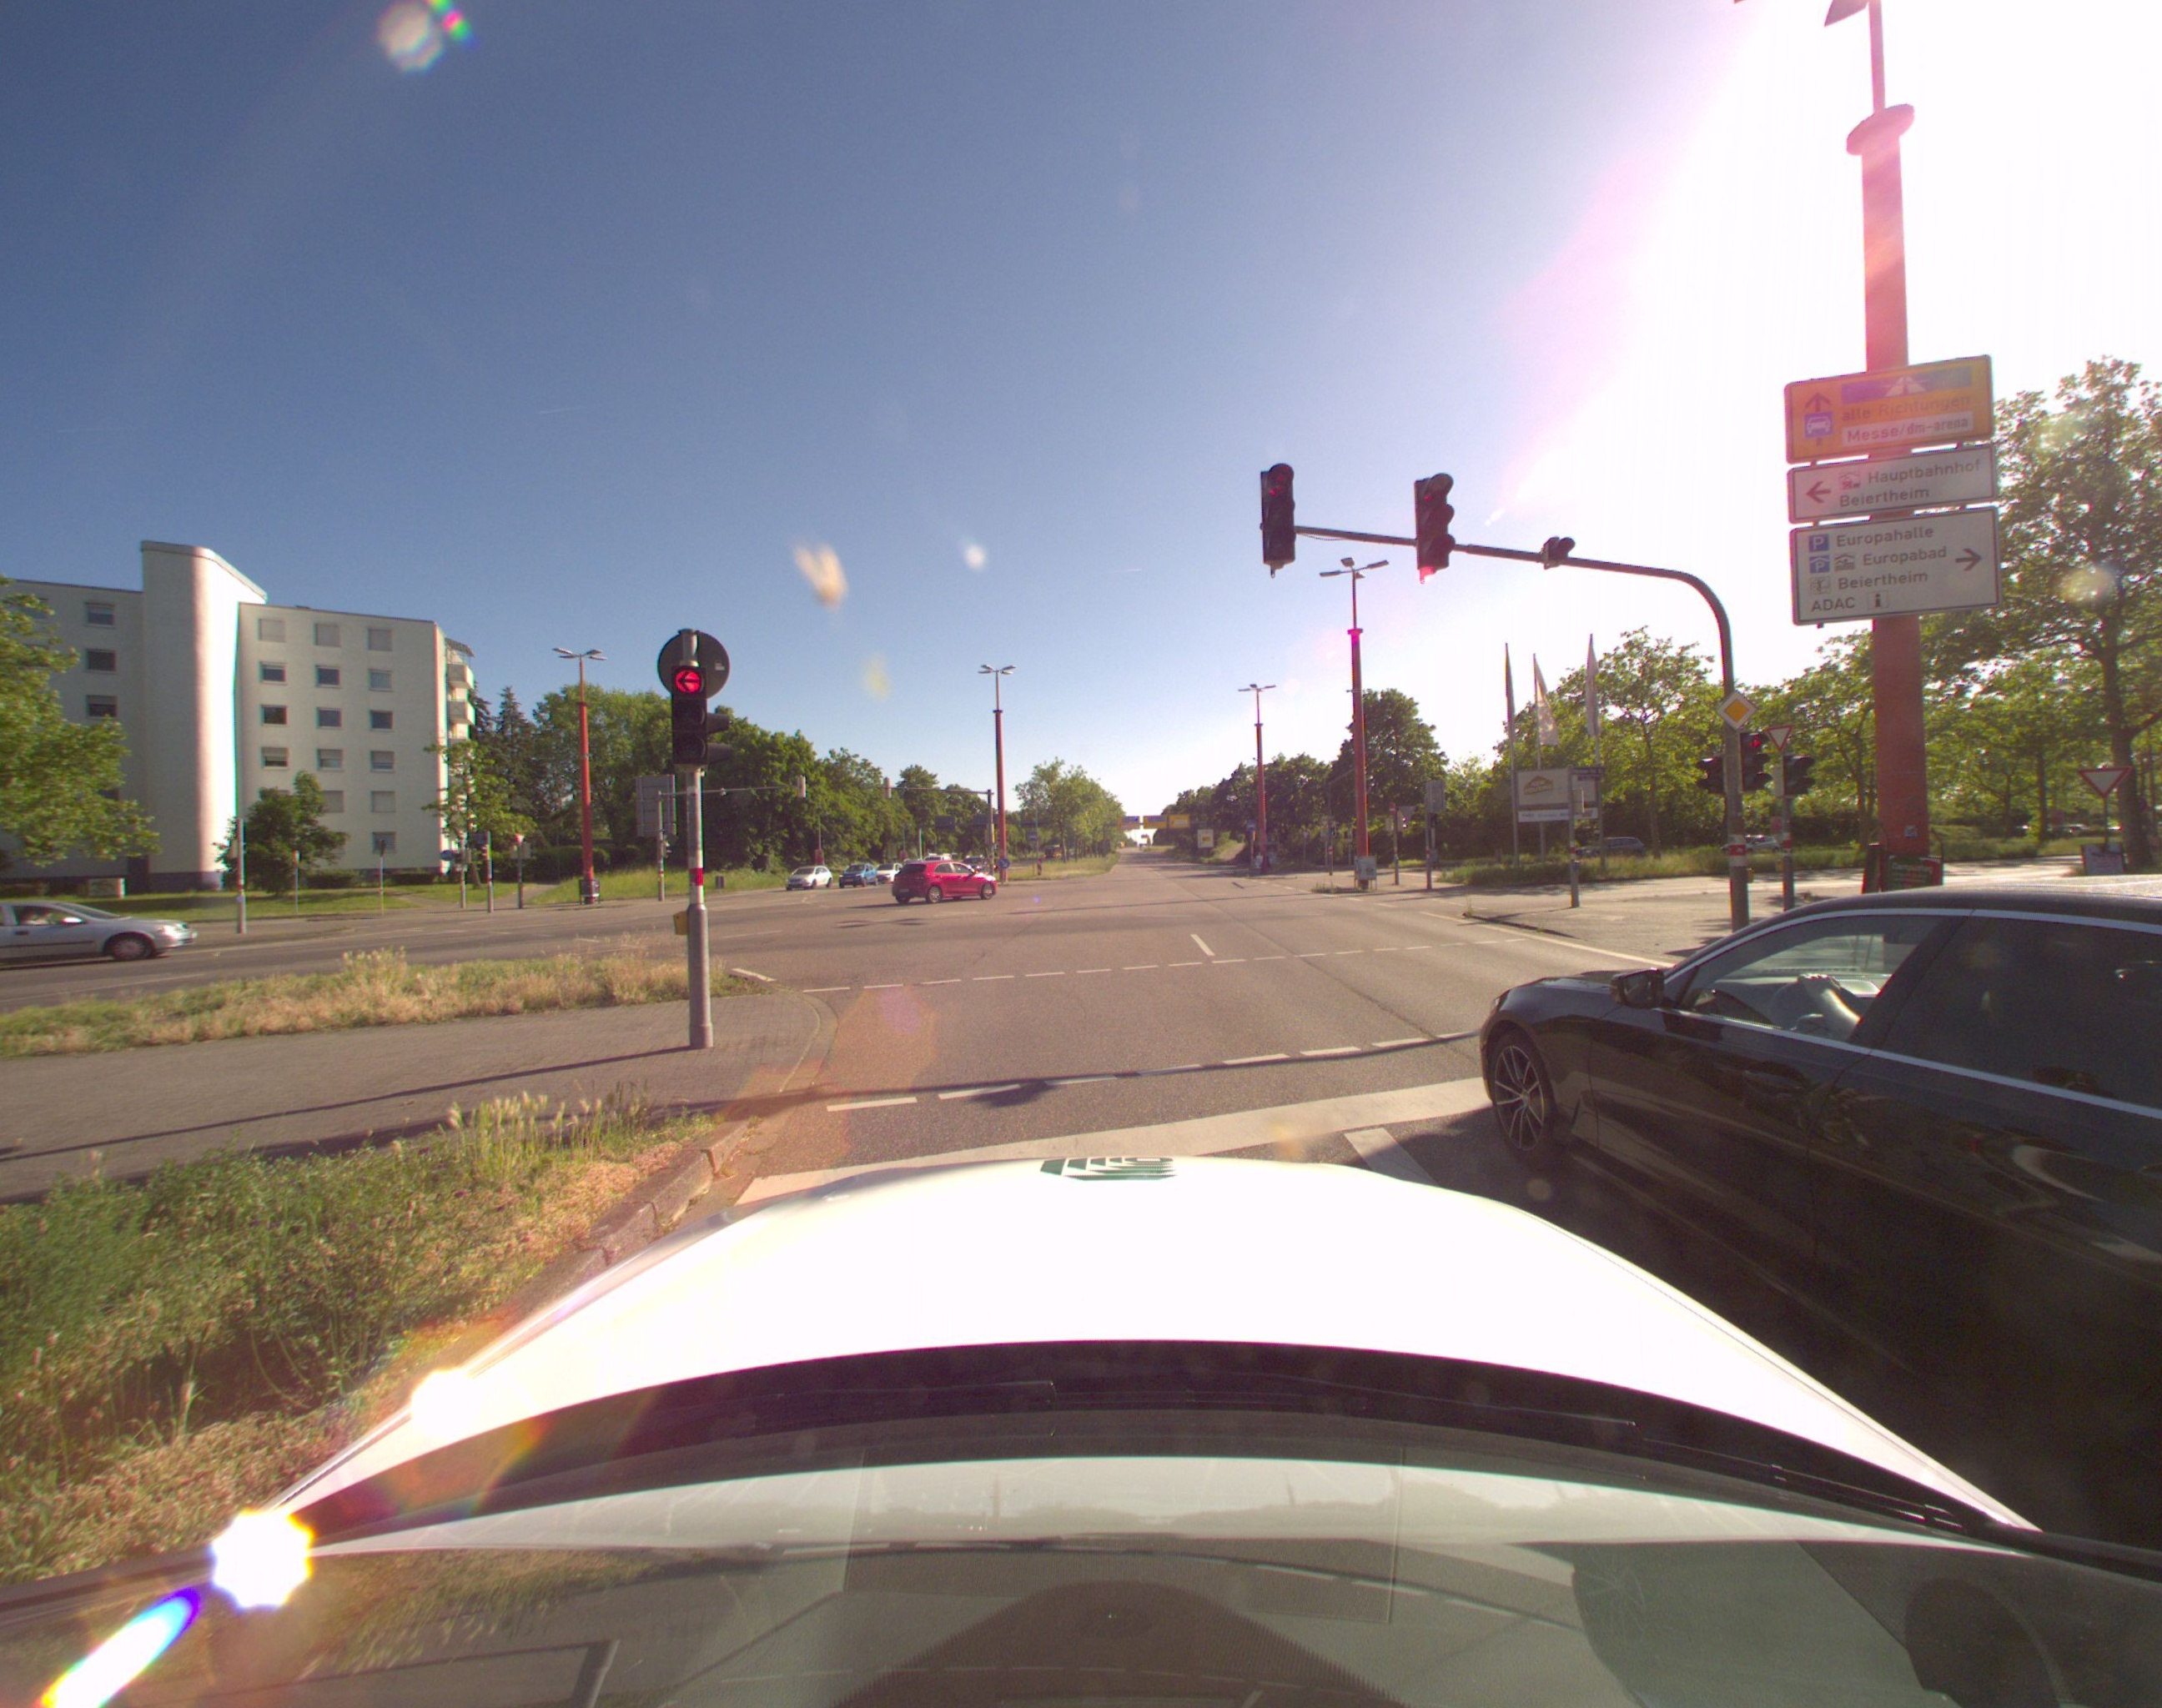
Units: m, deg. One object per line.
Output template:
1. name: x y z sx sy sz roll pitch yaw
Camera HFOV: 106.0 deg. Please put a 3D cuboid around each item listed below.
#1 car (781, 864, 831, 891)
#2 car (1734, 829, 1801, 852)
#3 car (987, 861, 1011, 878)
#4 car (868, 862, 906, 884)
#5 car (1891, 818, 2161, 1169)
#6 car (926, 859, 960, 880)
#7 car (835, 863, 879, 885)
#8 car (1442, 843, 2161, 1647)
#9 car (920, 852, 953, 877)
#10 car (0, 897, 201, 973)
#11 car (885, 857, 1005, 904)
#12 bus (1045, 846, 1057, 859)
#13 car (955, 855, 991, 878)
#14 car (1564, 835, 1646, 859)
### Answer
1. car: -17.484 1.456 52.046 1.754 1.532 3.936 -2 0 1
2. car: 48.196 -0.938 57.197 3.990 1.467 1.675 -2 0 -16
3. car: -8.128 1.515 80.635 1.812 1.629 4.002 -2 0 2
4. car: -13.673 1.320 57.525 1.733 1.411 3.613 -2 0 1
5. car: 5.669 0.602 2.859 1.732 1.578 4.032 -2 0 3
6. car: -9.907 1.089 58.663 1.733 1.362 3.613 -2 0 1
7. car: -14.089 1.213 51.416 1.733 1.243 3.613 -2 0 1
8. car: 2.888 0.689 2.372 1.862 1.398 4.446 -2 0 3
9. car: -12.623 0.901 71.534 1.886 2.026 5.224 -1 0 1
10. car: -21.575 1.697 17.074 4.019 1.346 1.471 -2 0 -38
11. car: -4.732 0.902 28.753 1.664 1.435 4.091 -2 0 39
12. bus: -8.287 -0.400 224.066 2.482 3.238 10.004 -2 0 2
13. car: -7.448 0.849 56.685 1.812 1.508 4.002 -2 0 2
14. car: 35.120 -0.450 54.640 4.299 1.485 1.786 -2 0 1
